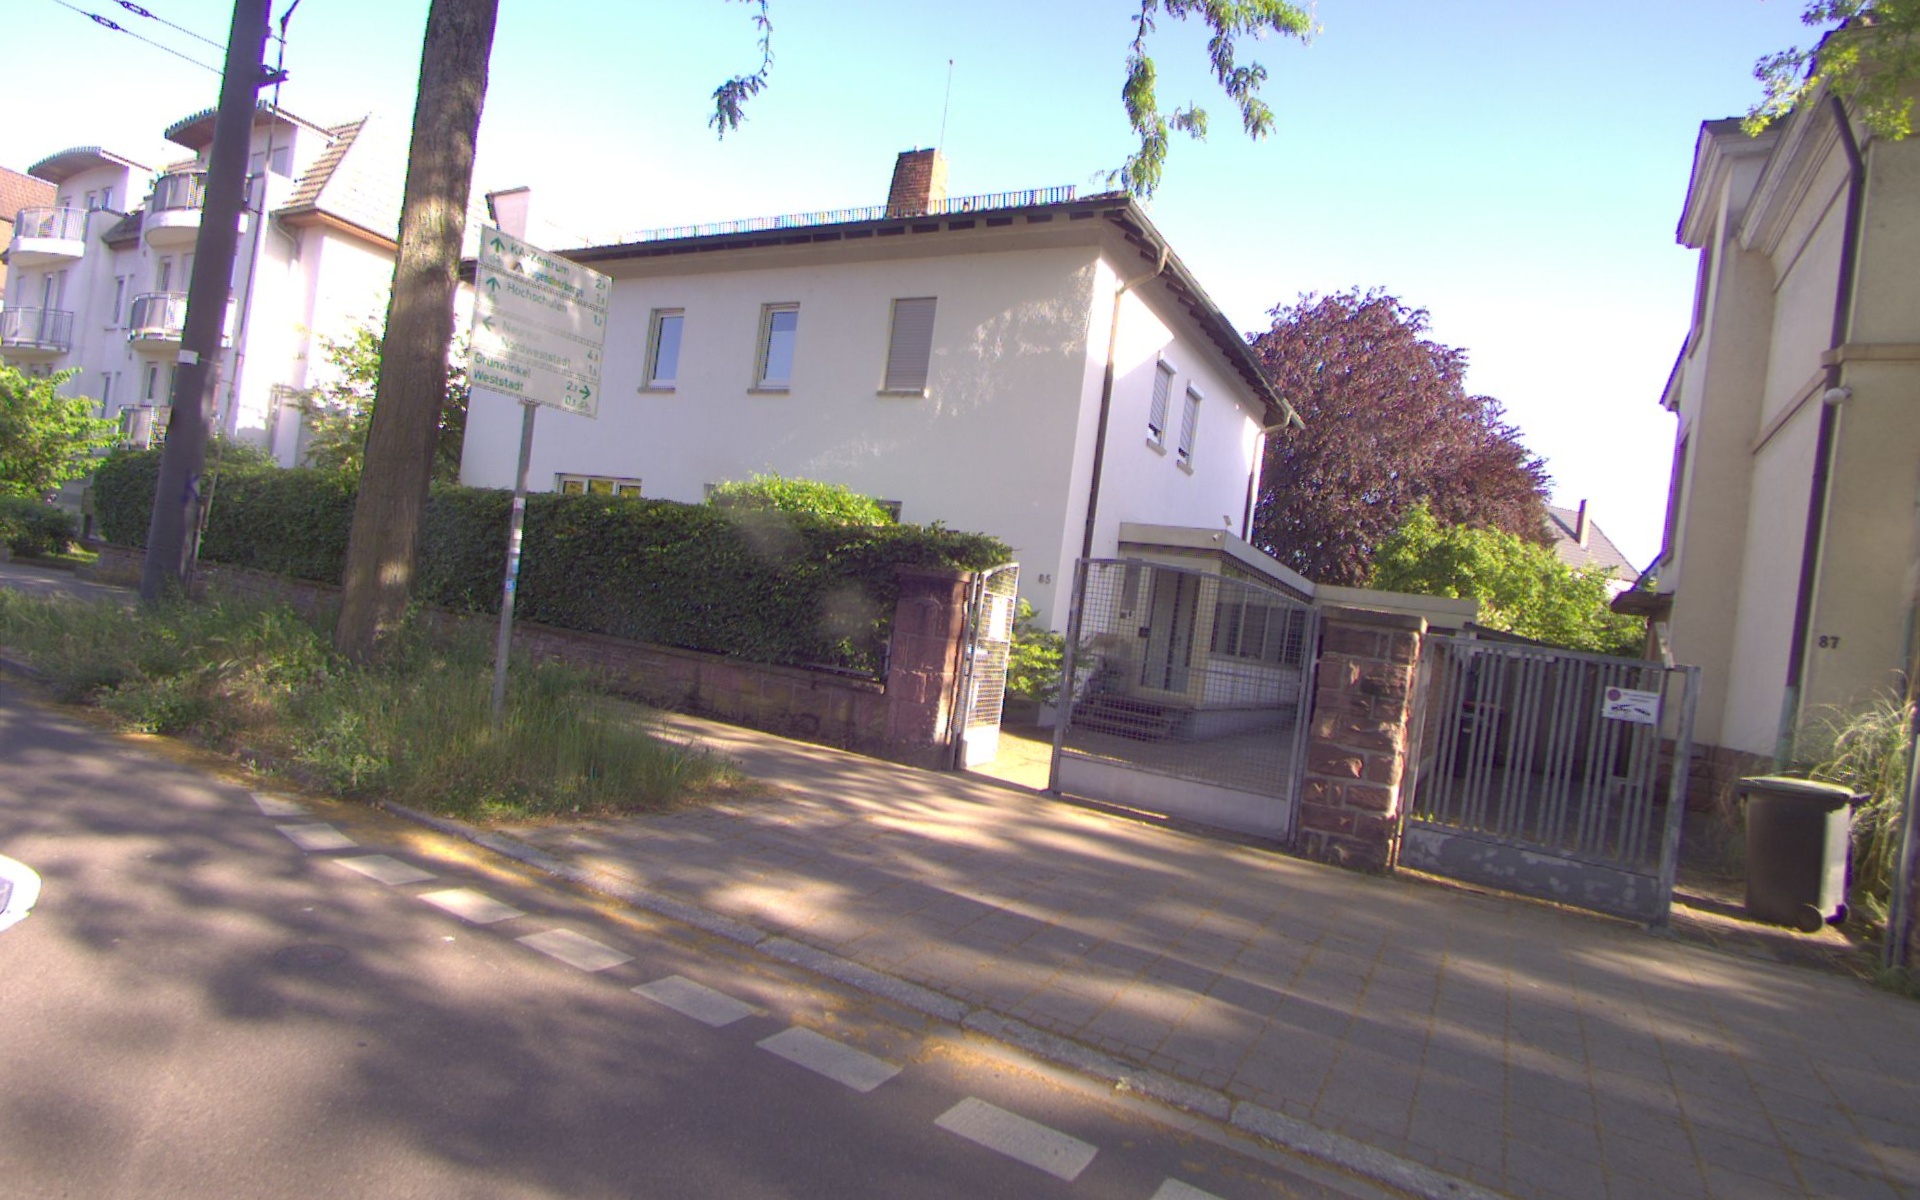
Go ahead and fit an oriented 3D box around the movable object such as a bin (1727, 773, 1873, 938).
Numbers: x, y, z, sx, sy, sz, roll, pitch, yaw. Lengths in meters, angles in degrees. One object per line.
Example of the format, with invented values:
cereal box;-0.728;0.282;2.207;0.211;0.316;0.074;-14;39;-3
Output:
movable object such as a bin;6.368;1.908;7.630;0.652;1.060;0.641;8;-1;-38
